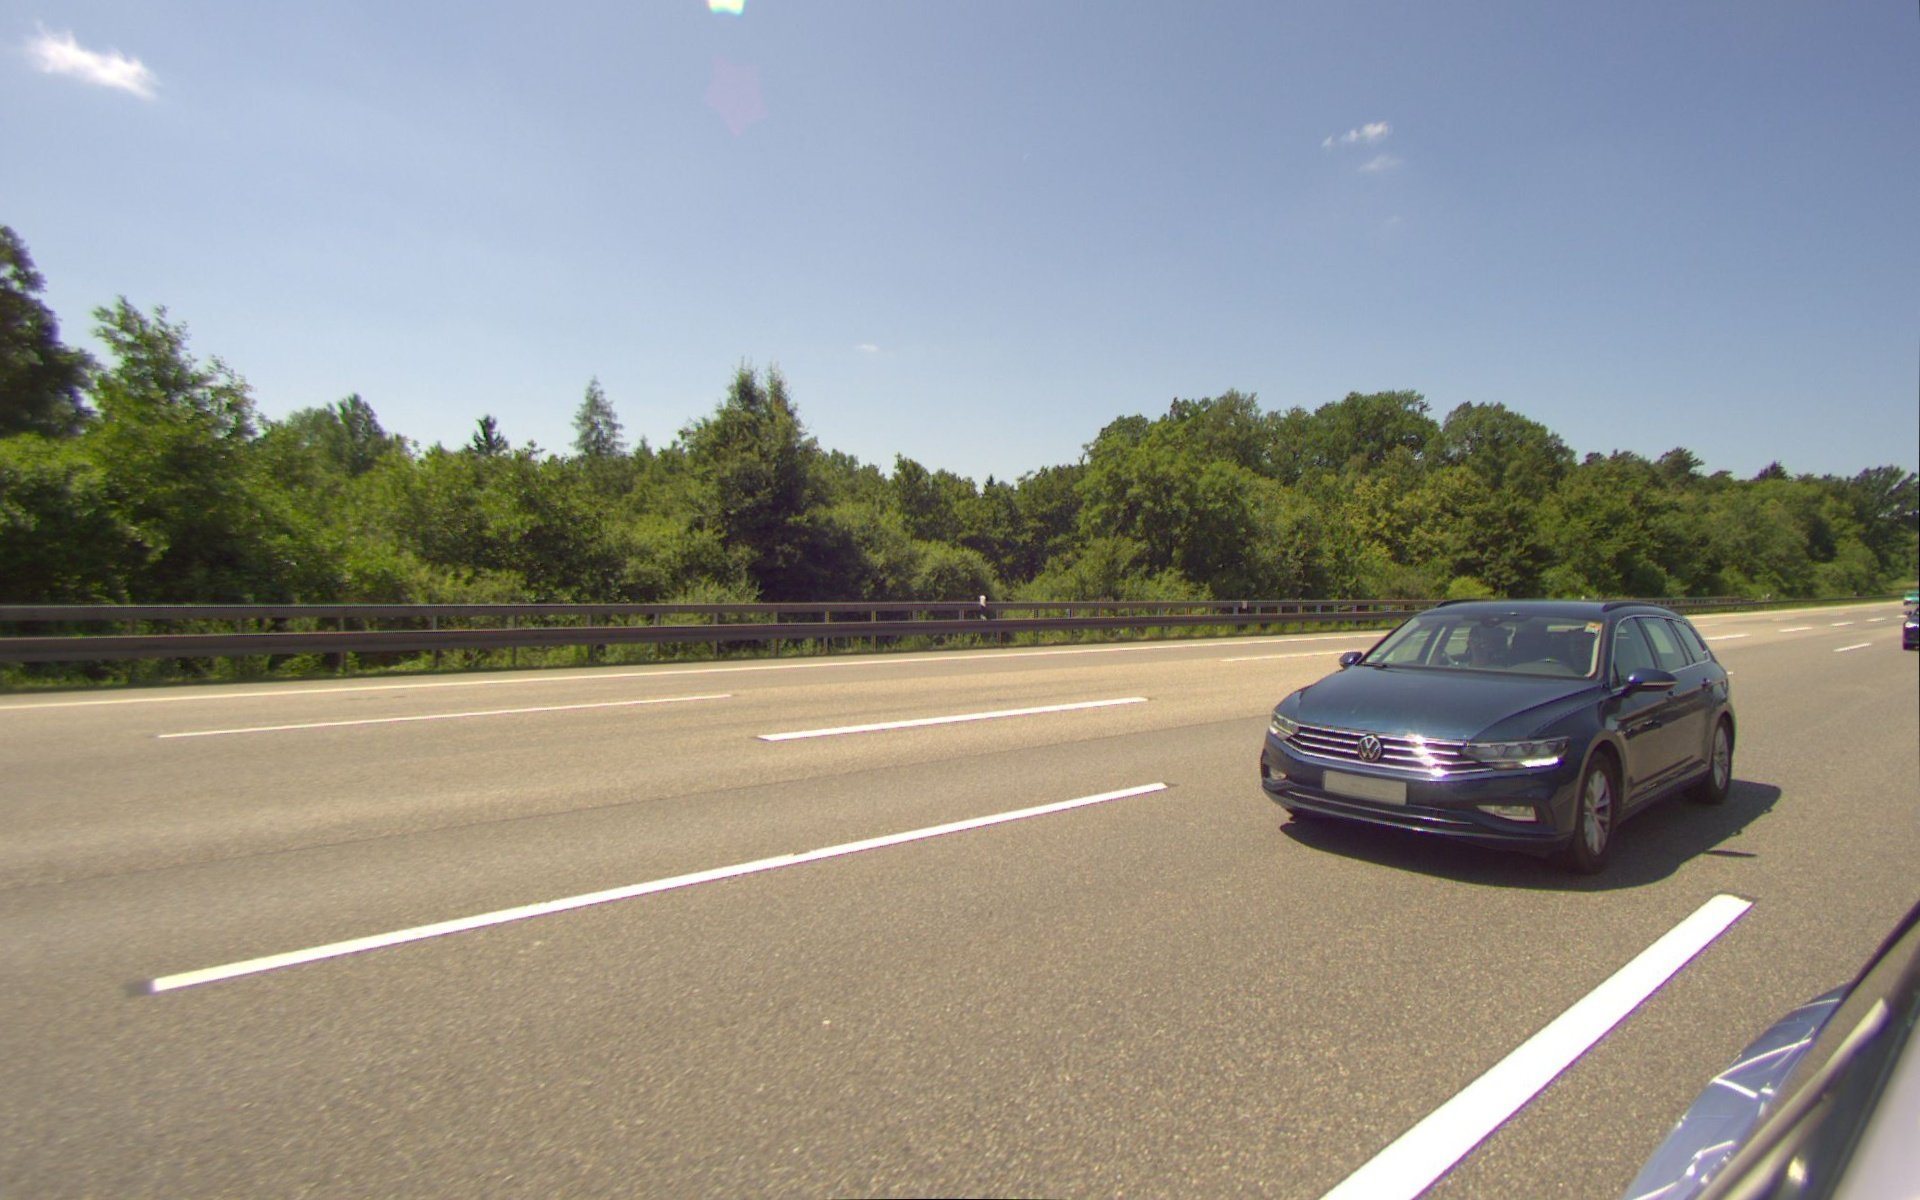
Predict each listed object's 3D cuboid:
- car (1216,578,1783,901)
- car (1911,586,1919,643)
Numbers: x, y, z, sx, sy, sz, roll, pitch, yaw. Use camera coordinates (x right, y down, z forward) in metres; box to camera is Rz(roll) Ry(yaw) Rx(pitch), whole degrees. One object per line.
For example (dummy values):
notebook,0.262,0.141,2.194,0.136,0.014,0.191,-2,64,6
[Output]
car,3.940,0.609,6.922,4.874,1.465,1.733,-1,2,-40
car,27.429,0.392,27.515,4.131,1.480,1.833,-1,4,-41
